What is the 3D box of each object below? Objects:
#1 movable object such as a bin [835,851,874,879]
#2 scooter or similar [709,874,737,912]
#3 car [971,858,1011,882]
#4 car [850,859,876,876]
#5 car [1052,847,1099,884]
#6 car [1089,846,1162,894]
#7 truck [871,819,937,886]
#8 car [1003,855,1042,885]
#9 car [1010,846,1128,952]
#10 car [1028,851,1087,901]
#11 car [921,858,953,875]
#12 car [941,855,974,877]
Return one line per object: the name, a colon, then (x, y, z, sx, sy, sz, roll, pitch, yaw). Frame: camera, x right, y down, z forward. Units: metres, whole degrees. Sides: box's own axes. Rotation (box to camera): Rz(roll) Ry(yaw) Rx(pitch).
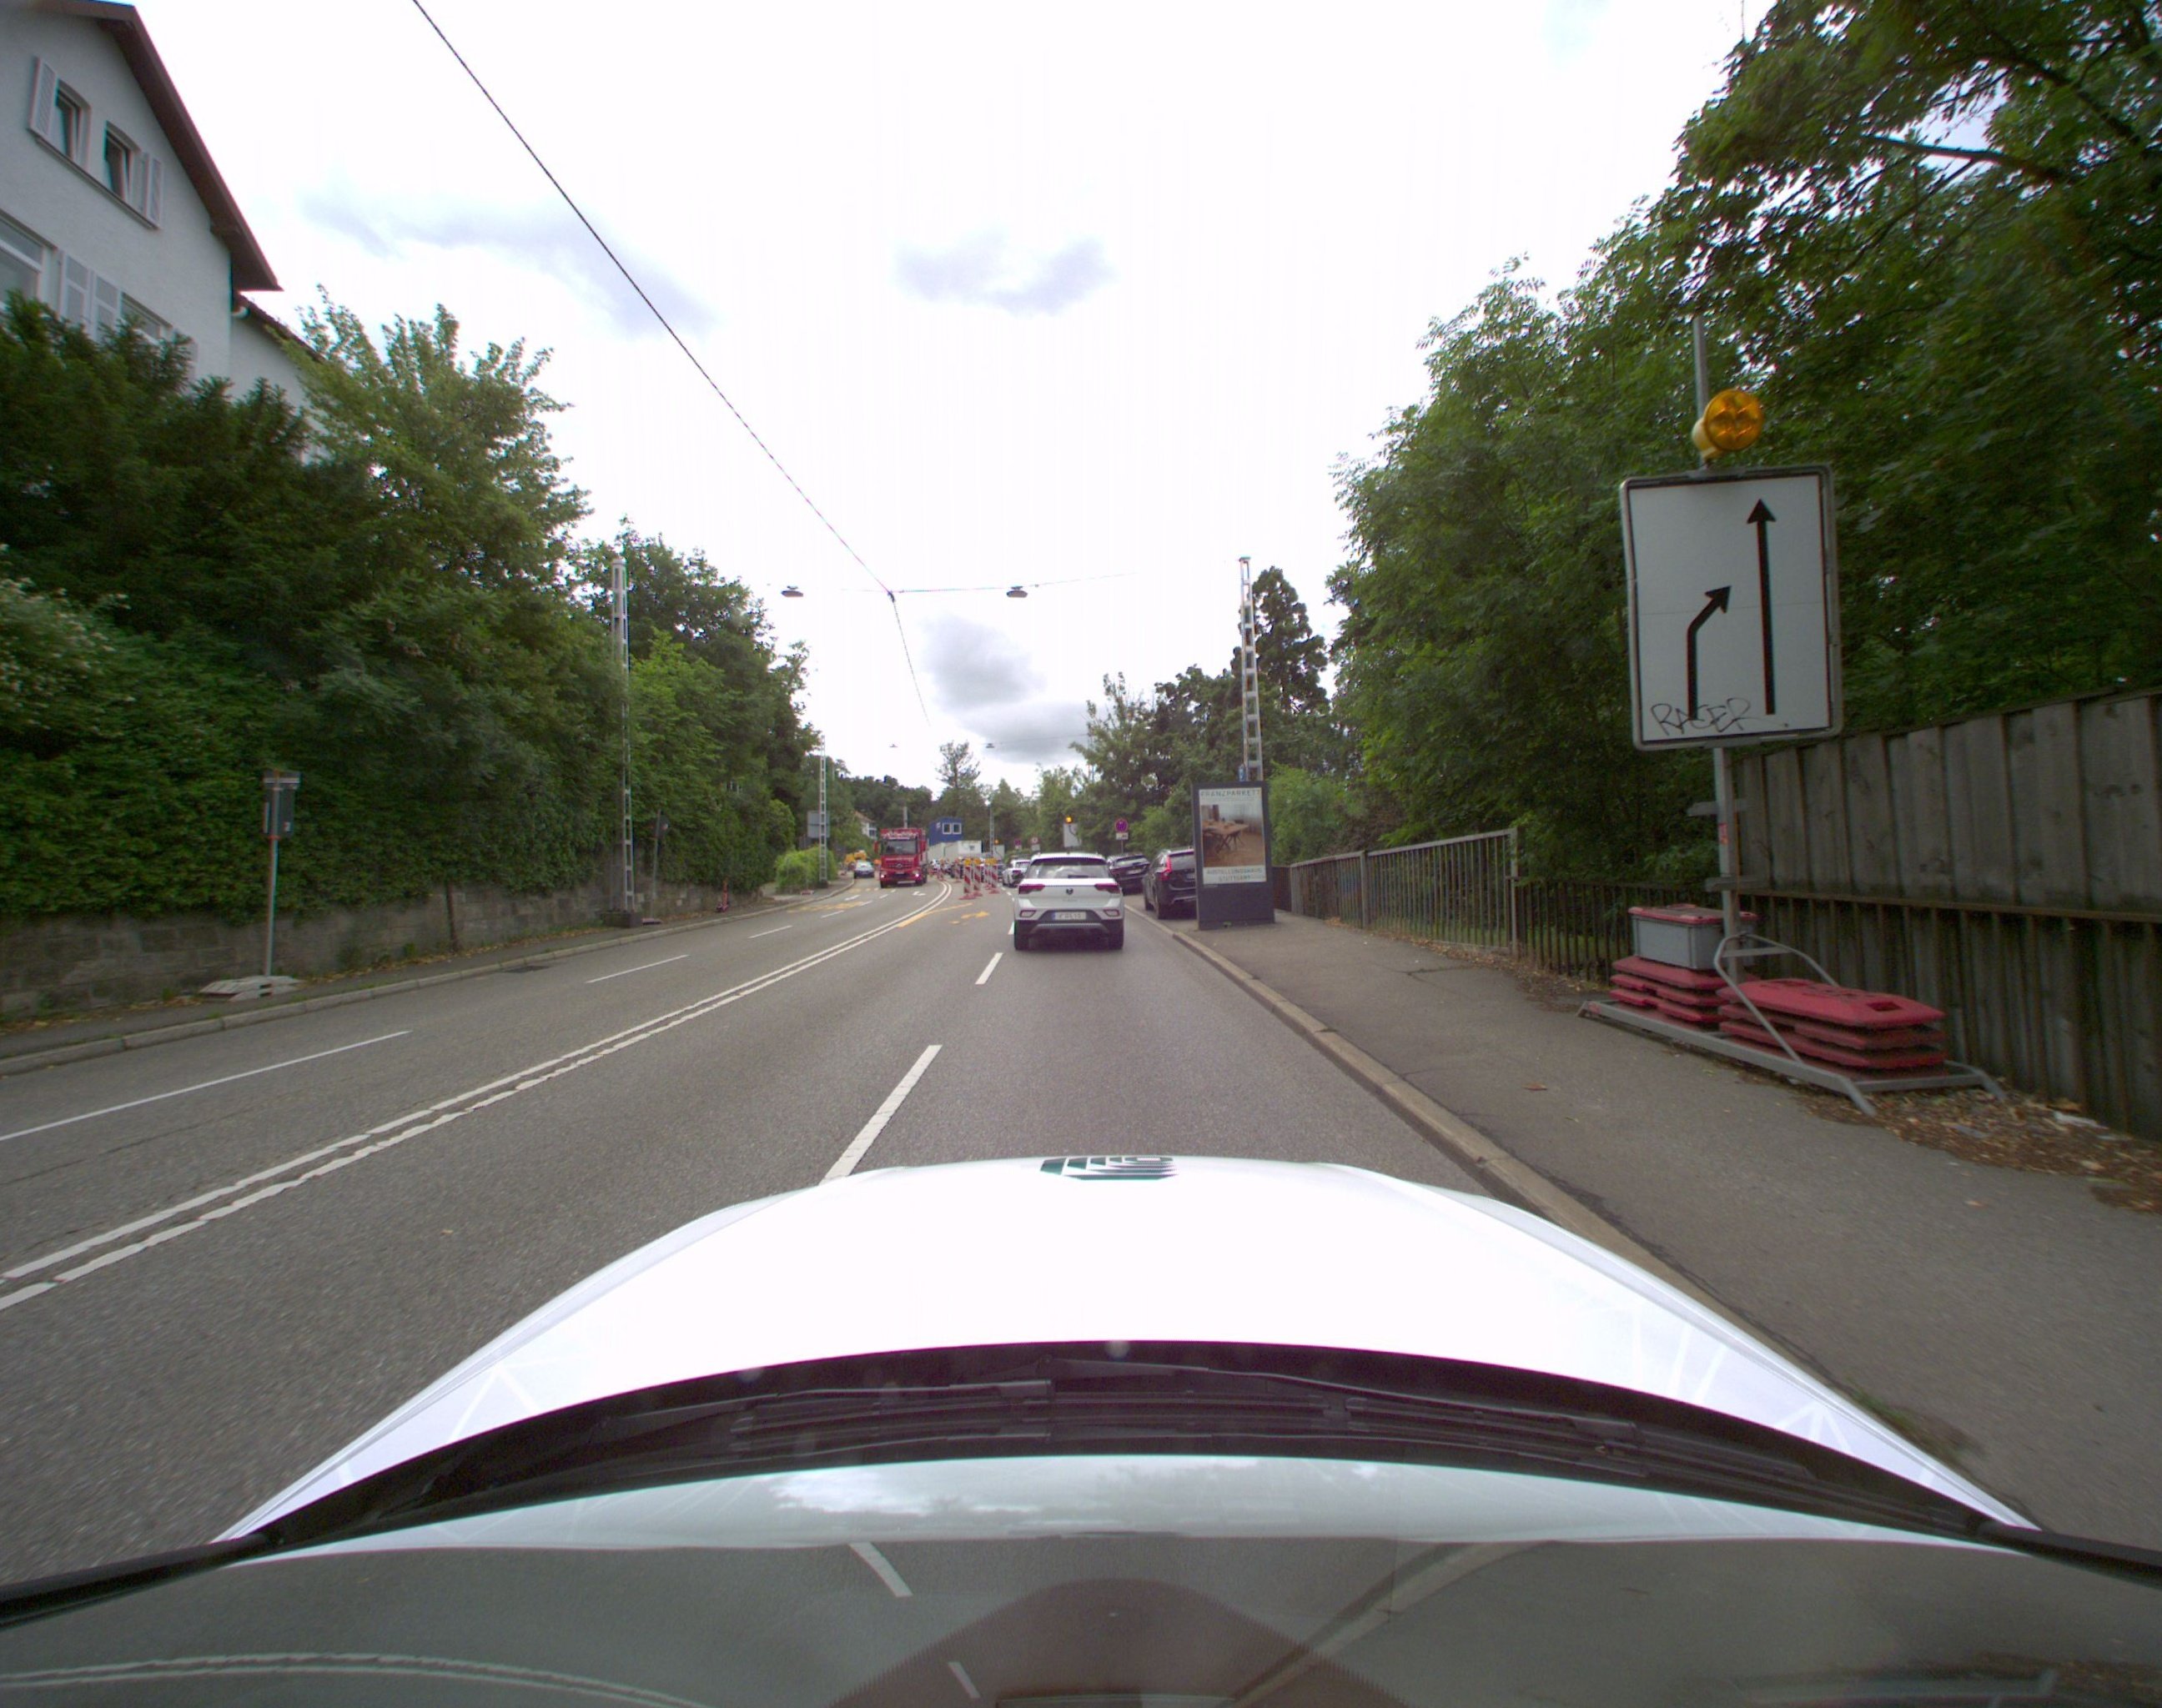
movable object such as a bin: (-32.632, 1.564, 117.174, 3.553, 3.699, 7.423, -3, 0, -29)
scooter or similar: (-11.847, 1.272, 26.950, 0.537, 1.205, 1.275, 0, -1, -10)
car: (-6.004, 1.090, 53.784, 1.997, 1.414, 4.129, -3, -1, -14)
car: (-19.372, 1.171, 72.304, 1.901, 1.382, 3.975, -3, 1, -18)
car: (-0.378, 0.603, 45.015, 1.849, 1.656, 4.130, -10, 1, -8)
car: (1.579, 0.575, 30.551, 1.807, 1.463, 4.182, -7, 1, -8)
truck: (-11.181, -0.072, 52.443, 2.942, 3.697, 9.895, -4, 0, -7)
car: (-3.145, 0.823, 43.250, 1.757, 1.471, 3.783, -2, 0, -9)
car: (-0.167, 0.685, 14.247, 1.752, 1.555, 3.795, -2, 0, 0)
car: (-0.899, 0.727, 28.846, 1.755, 1.609, 3.787, -2, 0, -6)
car: (-13.532, 1.165, 76.374, 2.002, 1.450, 4.119, -3, -1, -23)
car: (-9.606, 0.884, 63.060, 1.998, 1.556, 4.128, -2, 1, -16)
